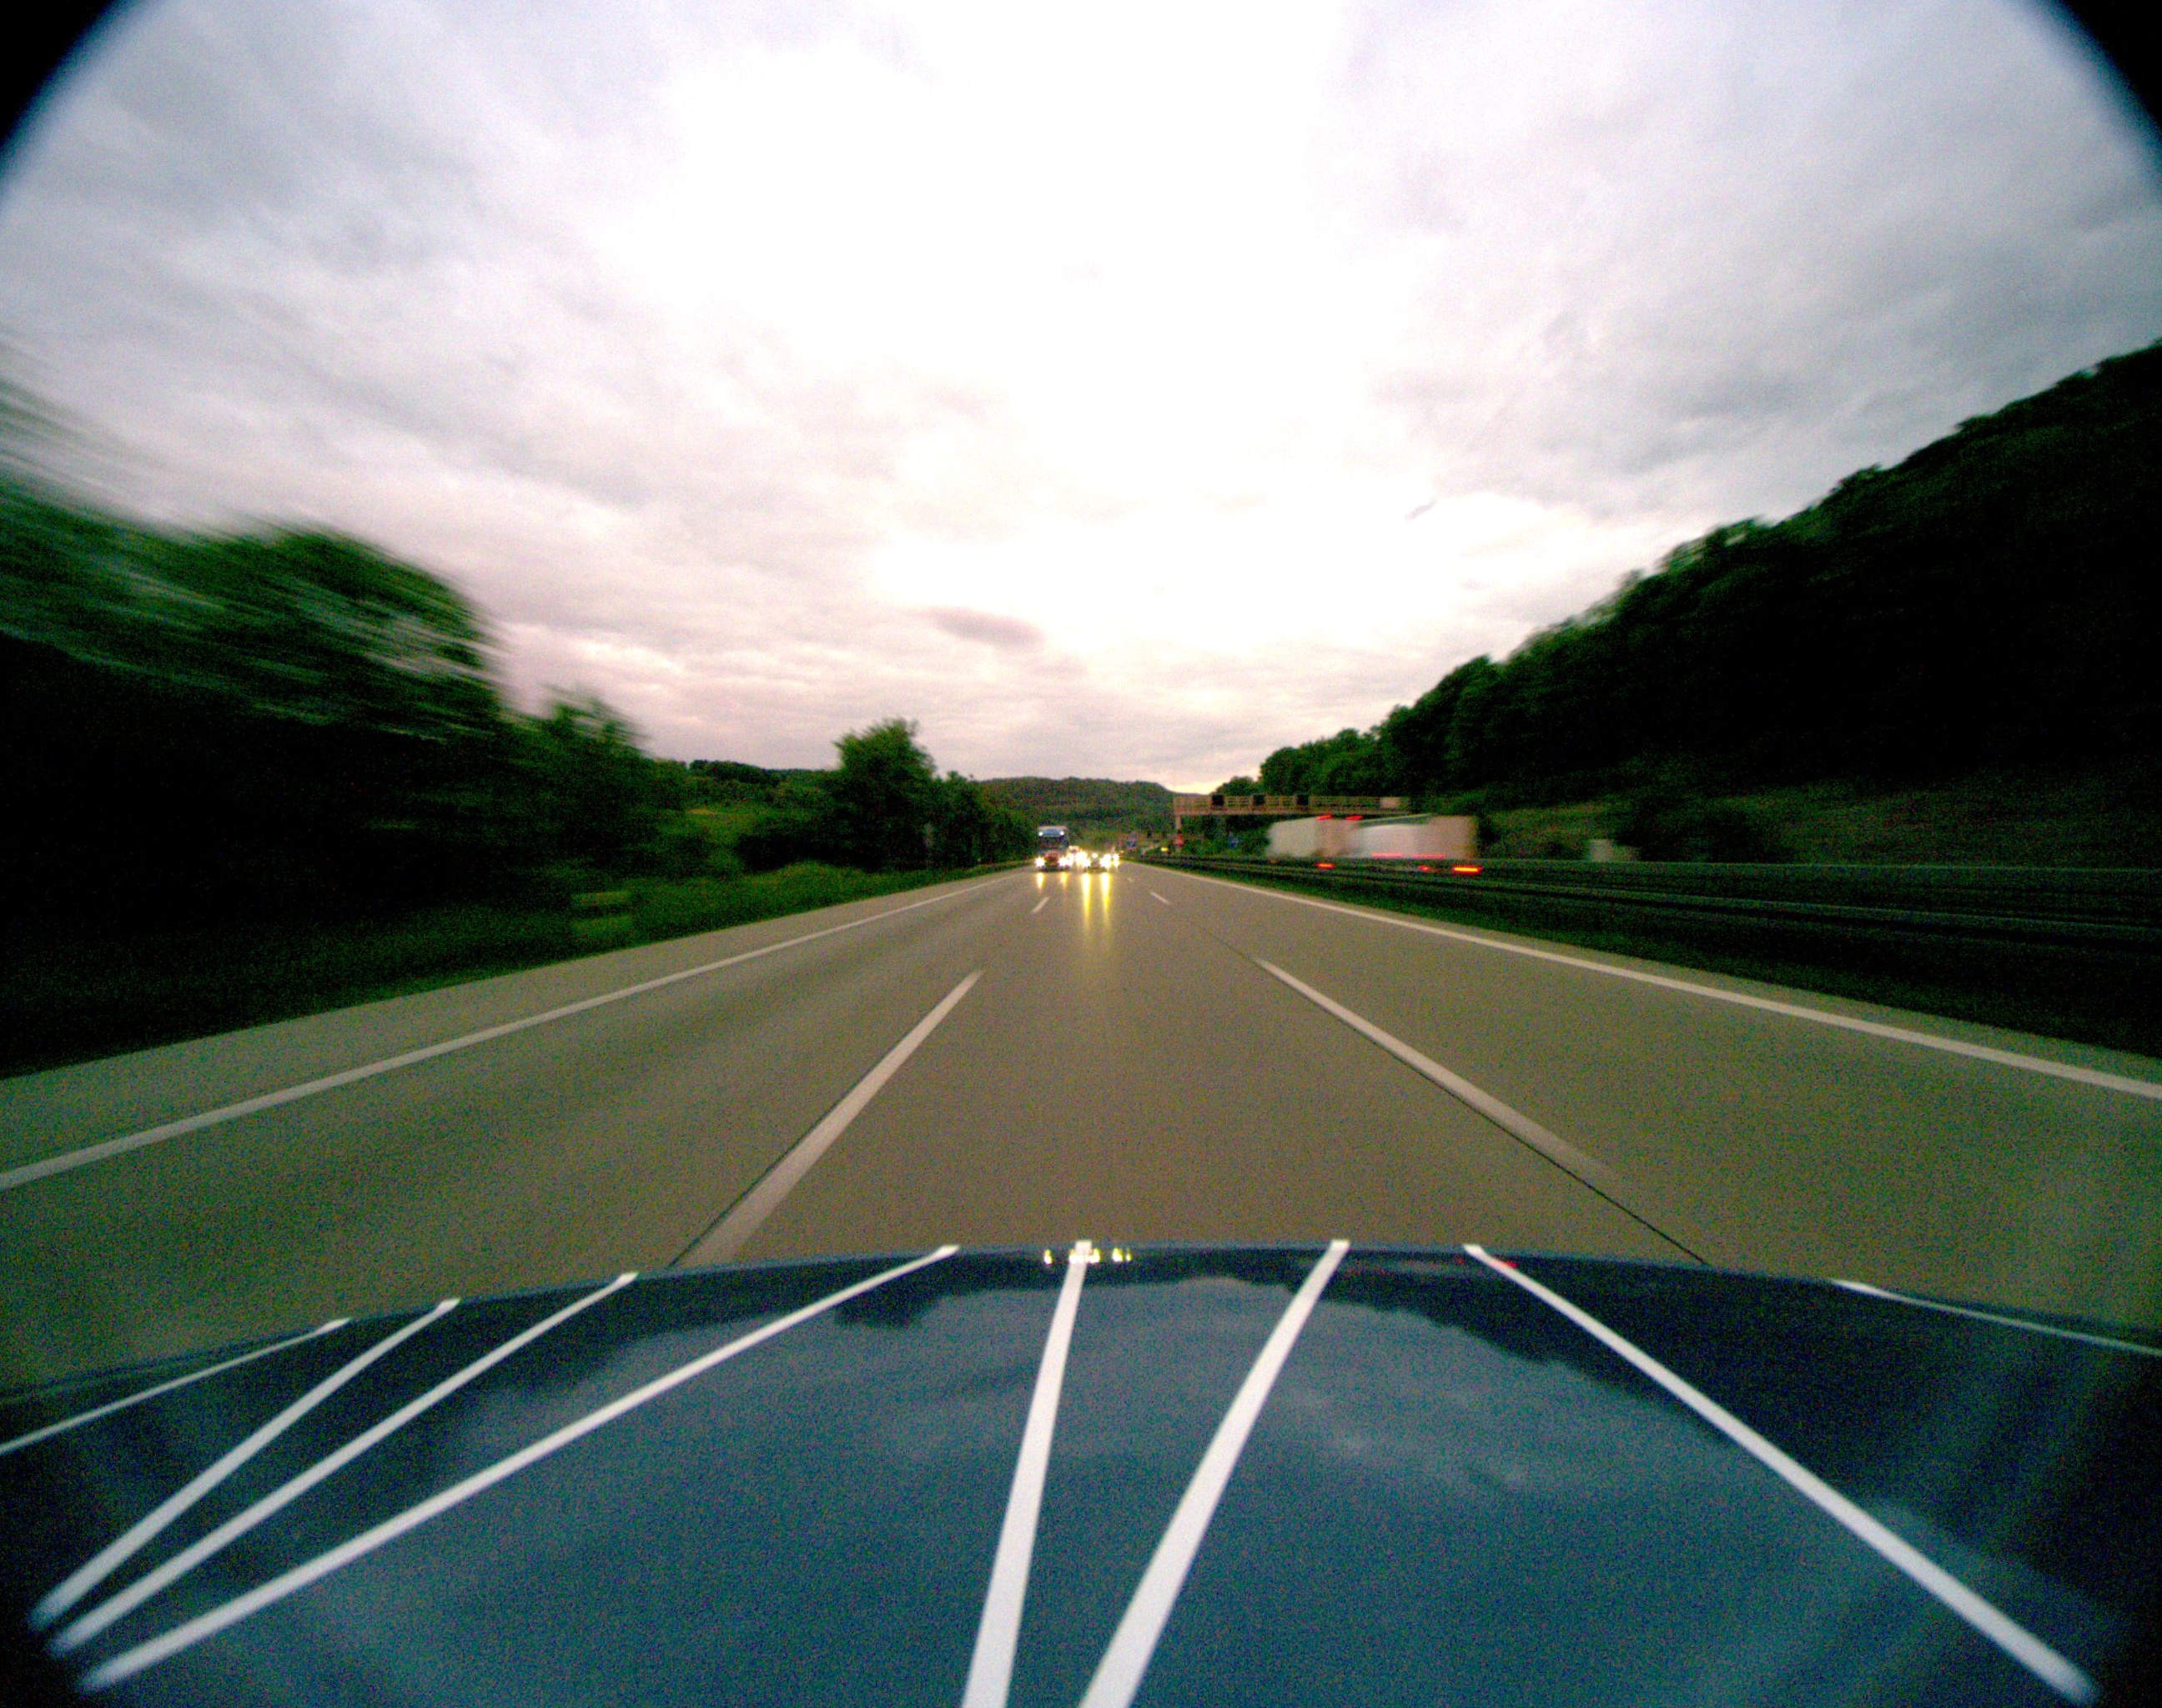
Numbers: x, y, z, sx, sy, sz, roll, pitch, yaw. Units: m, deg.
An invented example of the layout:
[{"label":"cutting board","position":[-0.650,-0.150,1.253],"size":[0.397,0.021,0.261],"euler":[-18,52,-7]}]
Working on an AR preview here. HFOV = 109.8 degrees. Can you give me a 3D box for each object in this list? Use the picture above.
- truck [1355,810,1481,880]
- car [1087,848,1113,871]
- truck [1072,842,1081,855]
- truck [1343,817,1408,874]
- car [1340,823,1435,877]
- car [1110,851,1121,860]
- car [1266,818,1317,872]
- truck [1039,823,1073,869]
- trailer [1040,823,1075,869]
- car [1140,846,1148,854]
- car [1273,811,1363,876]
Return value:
[{"label":"truck","position":[22.716,-0.593,52.482],"size":[2.902,4.186,13.600],"euler":[-1,0,1]},{"label":"car","position":[1.469,0.401,59.090],"size":[1.927,1.674,4.807],"euler":[0,0,2]},{"label":"truck","position":[-1.215,-1.508,229.352],"size":[2.623,3.805,10.384],"euler":[-1,0,0]},{"label":"truck","position":[22.857,-0.616,59.205],"size":[2.864,4.186,5.864],"euler":[-1,1,1]},{"label":"car","position":[14.164,-0.206,35.613],"size":[1.998,2.273,6.339],"euler":[-1,0,1]},{"label":"car","position":[6.356,0.280,141.250],"size":[1.898,1.503,4.001],"euler":[-1,0,4]},{"label":"car","position":[18.194,-0.767,66.118],"size":[2.805,4.461,5.929],"euler":[-1,1,0]},{"label":"truck","position":[-2.248,-0.695,69.479],"size":[2.743,3.973,5.849],"euler":[-2,0,1]},{"label":"trailer","position":[-2.168,-0.777,76.311],"size":[2.778,4.062,13.738],"euler":[-2,0,1]},{"label":"car","position":[20.189,-1.241,243.580],"size":[2.143,2.345,6.719],"euler":[-1,0,1]},{"label":"car","position":[18.179,-0.750,59.651],"size":[2.805,4.461,13.910],"euler":[-1,0,1]}]
